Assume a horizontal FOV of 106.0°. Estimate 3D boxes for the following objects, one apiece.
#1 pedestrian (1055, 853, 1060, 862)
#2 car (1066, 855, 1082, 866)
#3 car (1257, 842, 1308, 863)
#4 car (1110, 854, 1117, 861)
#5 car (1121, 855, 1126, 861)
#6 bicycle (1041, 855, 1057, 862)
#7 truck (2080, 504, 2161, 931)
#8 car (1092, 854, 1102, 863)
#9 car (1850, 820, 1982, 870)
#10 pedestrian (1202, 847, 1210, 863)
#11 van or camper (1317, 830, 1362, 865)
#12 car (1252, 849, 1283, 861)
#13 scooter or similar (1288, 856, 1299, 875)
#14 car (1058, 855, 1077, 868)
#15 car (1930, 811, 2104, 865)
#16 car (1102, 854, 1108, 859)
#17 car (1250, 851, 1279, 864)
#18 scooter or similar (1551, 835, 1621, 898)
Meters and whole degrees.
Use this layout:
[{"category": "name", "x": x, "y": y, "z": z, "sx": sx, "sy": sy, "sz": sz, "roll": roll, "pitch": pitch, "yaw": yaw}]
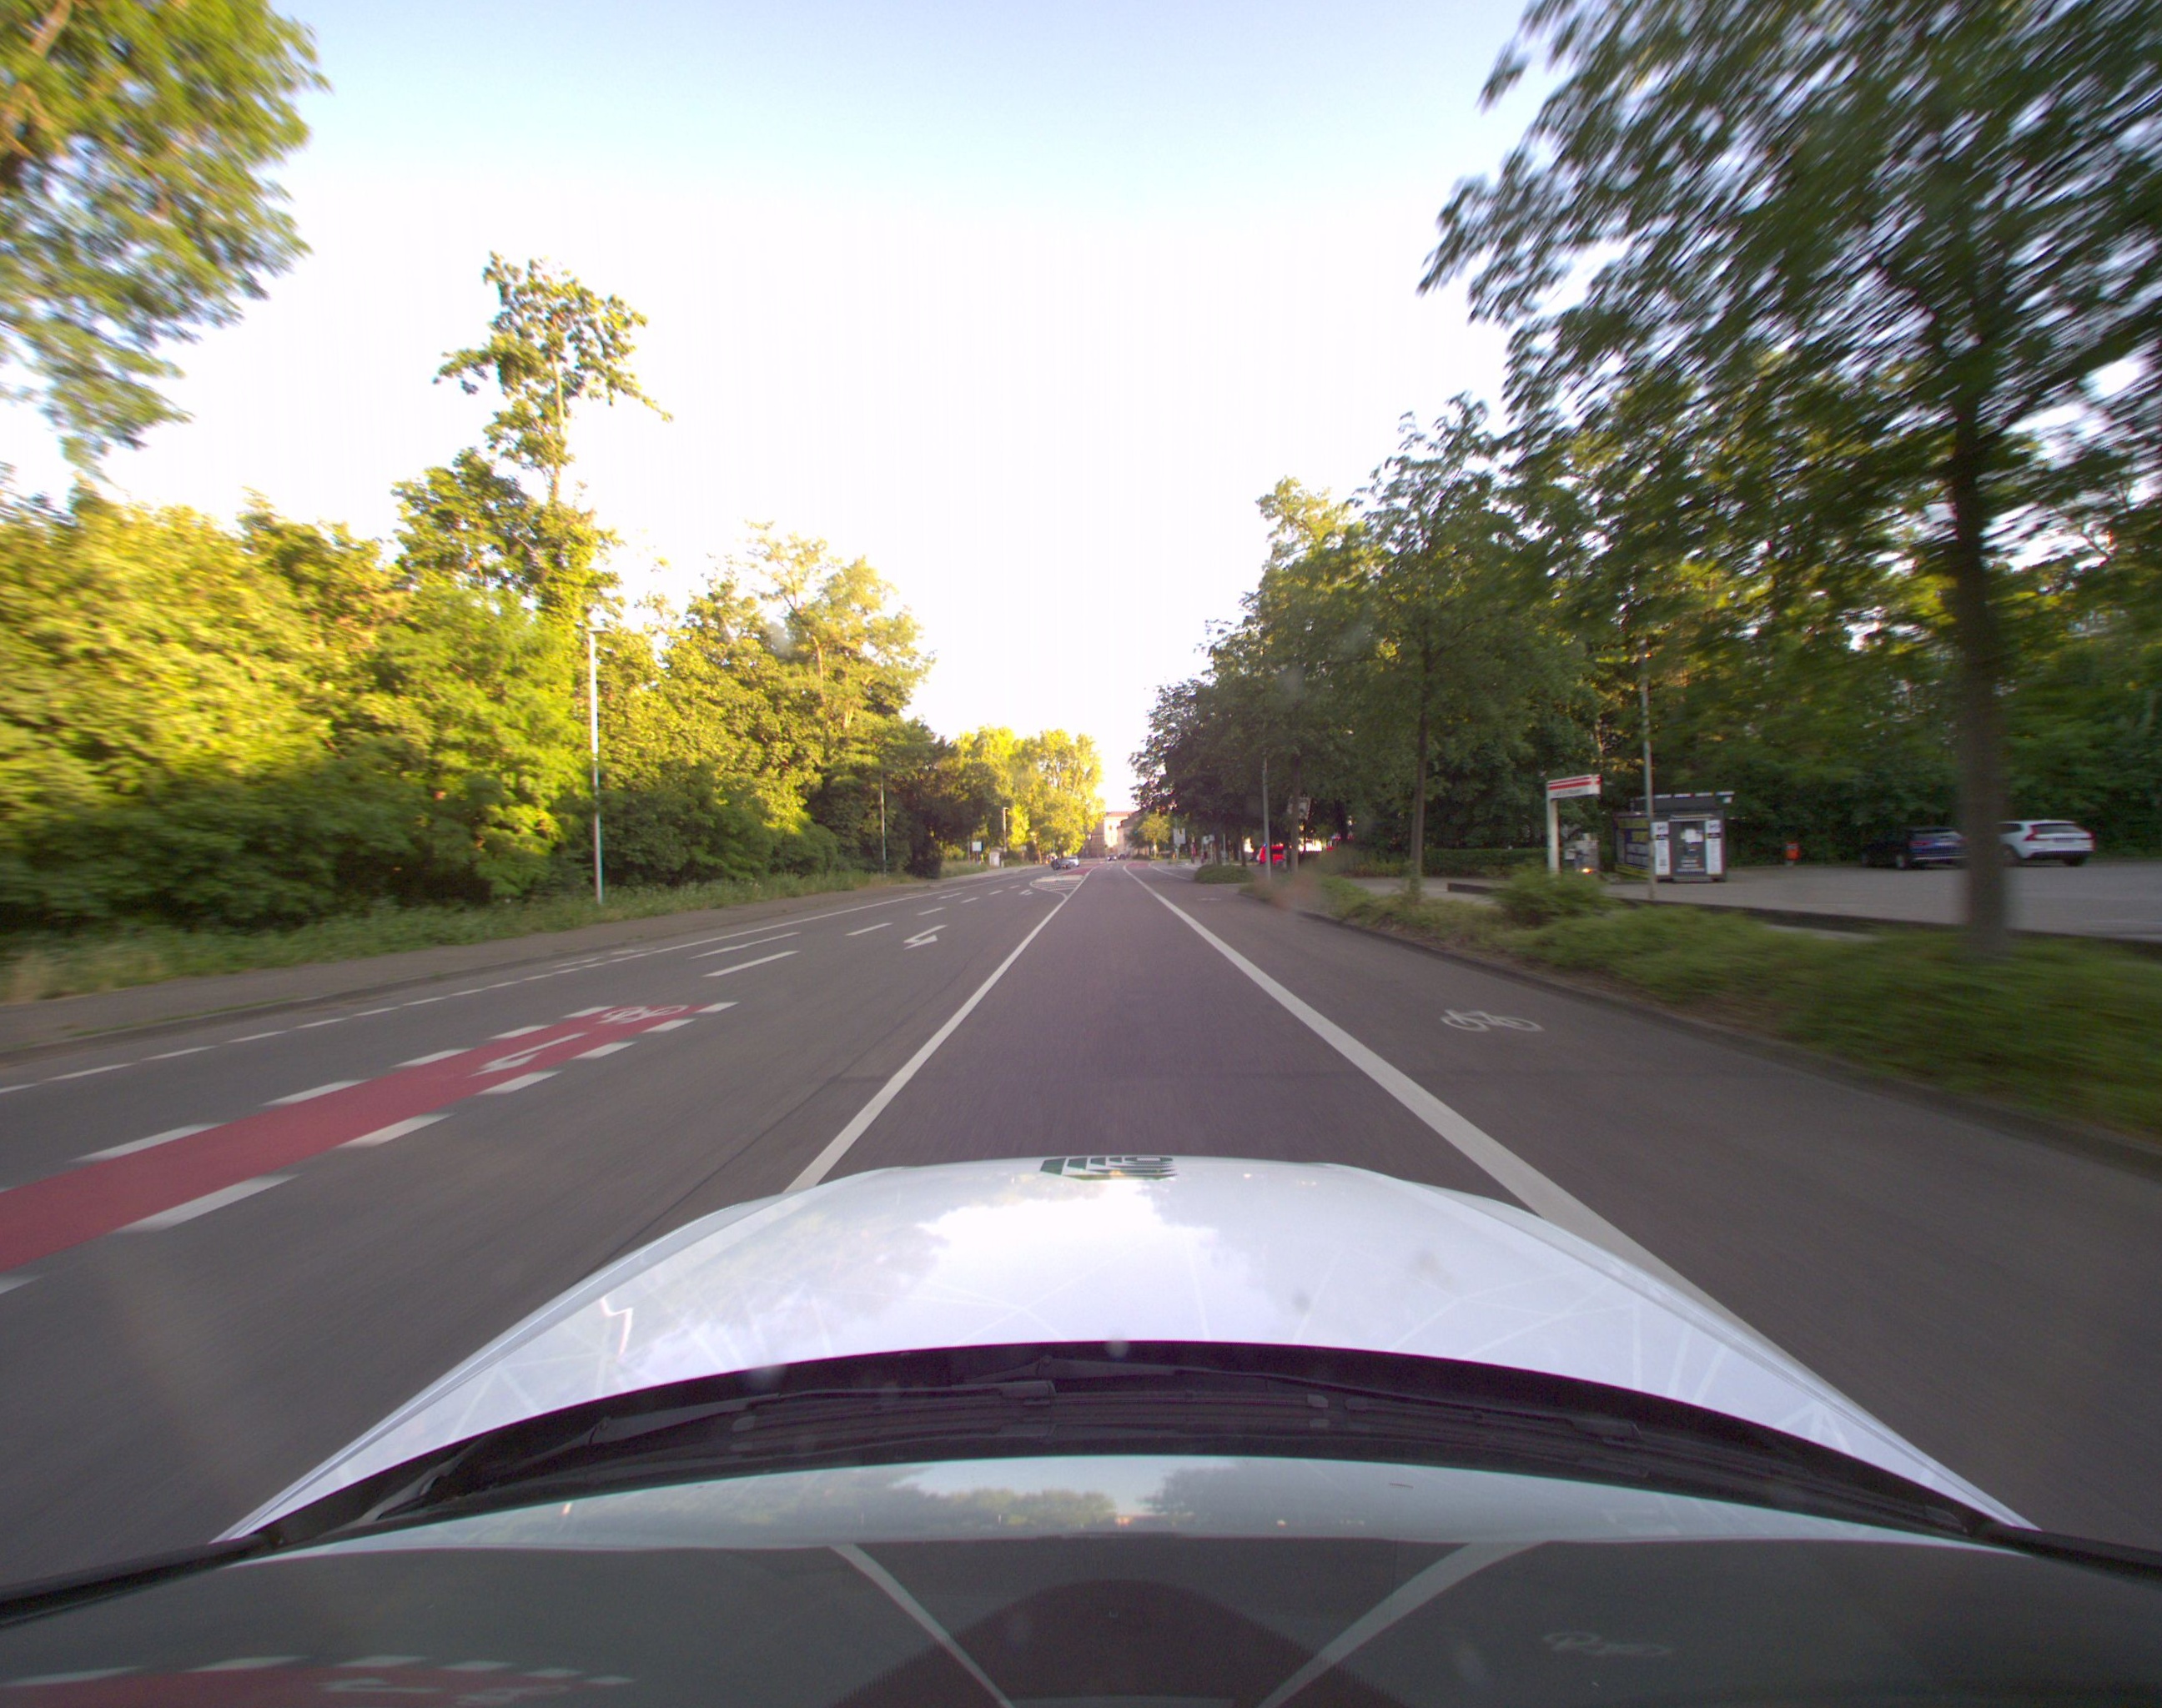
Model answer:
[{"category": "pedestrian", "x": -4.173, "y": 0.671, "z": 144.267, "sx": 0.786, "sy": 1.580, "sz": 0.748, "roll": 0, "pitch": 0, "yaw": 11}, {"category": "car", "x": -0.989, "y": 0.896, "z": 113.188, "sx": 1.789, "sy": 1.453, "sz": 4.132, "roll": -2, "pitch": 0, "yaw": 4}, {"category": "car", "x": 20.410, "y": -0.170, "z": 82.650, "sx": 4.881, "sy": 1.990, "sz": 1.927, "roll": -2, "pitch": 0, "yaw": 9}, {"category": "car", "x": 7.273, "y": 0.721, "z": 183.332, "sx": 1.487, "sy": 1.486, "sz": 3.493, "roll": -2, "pitch": 0, "yaw": 3}, {"category": "car", "x": 11.486, "y": 0.982, "z": 220.340, "sx": 1.487, "sy": 1.486, "sz": 3.493, "roll": -2, "pitch": 0, "yaw": 3}, {"category": "bicycle", "x": -5.431, "y": 0.764, "z": 137.597, "sx": 2.446, "sy": 1.195, "sz": 0.759, "roll": -2, "pitch": 0, "yaw": 11}, {"category": "truck", "x": 15.394, "y": -1.767, "z": 7.064, "sx": 3.024, "sy": 5.455, "sz": 8.407, "roll": -1, "pitch": 0, "yaw": -1}, {"category": "car", "x": 2.688, "y": 0.713, "z": 138.396, "sx": 1.487, "sy": 1.486, "sz": 3.493, "roll": -2, "pitch": 0, "yaw": 3}, {"category": "car", "x": 31.642, "y": -0.400, "z": 31.041, "sx": 1.870, "sy": 1.637, "sz": 4.309, "roll": -4, "pitch": 1, "yaw": 22}, {"category": "pedestrian", "x": 13.950, "y": 0.155, "z": 90.879, "sx": 0.766, "sy": 1.740, "sz": 0.732, "roll": -2, "pitch": 0, "yaw": 2}, {"category": "van or camper", "x": 25.015, "y": -0.650, "z": 79.196, "sx": 3.415, "sy": 3.199, "sz": 8.258, "roll": 0, "pitch": 0, "yaw": 12}, {"category": "car", "x": 27.466, "y": 0.190, "z": 120.101, "sx": 4.433, "sy": 1.590, "sz": 1.720, "roll": -2, "pitch": 0, "yaw": 9}, {"category": "scooter or similar", "x": 11.677, "y": 0.615, "z": 44.773, "sx": 0.309, "sy": 1.041, "sz": 0.981, "roll": -2, "pitch": 0, "yaw": 2}, {"category": "car", "x": -1.540, "y": 0.880, "z": 94.410, "sx": 1.789, "sy": 1.453, "sz": 4.132, "roll": -2, "pitch": 0, "yaw": 4}, {"category": "car", "x": 34.399, "y": -0.570, "z": 30.162, "sx": 1.904, "sy": 1.707, "sz": 4.718, "roll": -4, "pitch": 0, "yaw": 16}, {"category": "car", "x": 7.032, "y": 0.645, "z": 238.781, "sx": 1.487, "sy": 1.486, "sz": 3.493, "roll": -2, "pitch": 0, "yaw": 3}, {"category": "car", "x": 25.203, "y": 0.450, "z": 111.960, "sx": 3.751, "sy": 1.590, "sz": 1.720, "roll": -2, "pitch": 0, "yaw": 9}, {"category": "scooter or similar", "x": 10.817, "y": 0.252, "z": 17.497, "sx": 0.595, "sy": 1.282, "sz": 1.469, "roll": -2, "pitch": 0, "yaw": 2}]
